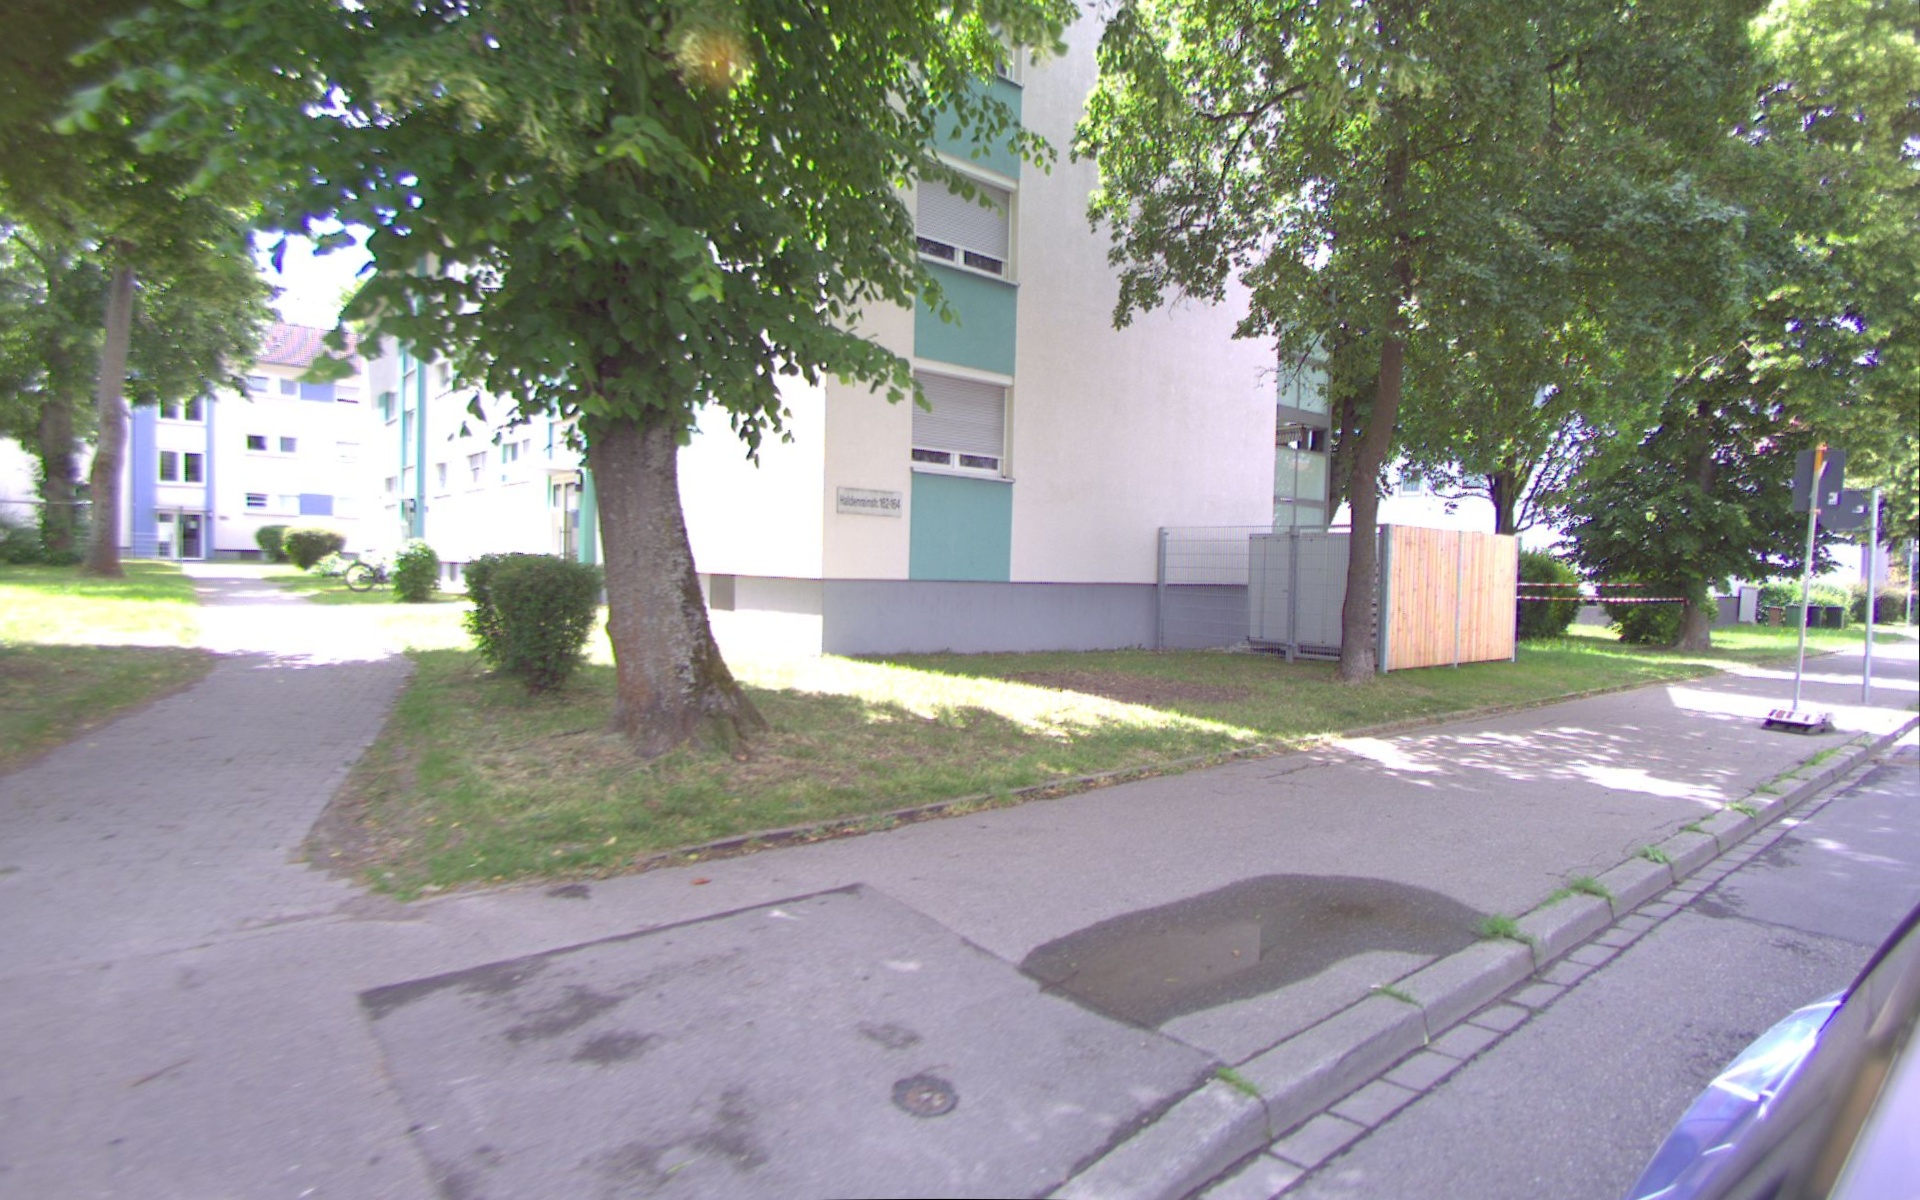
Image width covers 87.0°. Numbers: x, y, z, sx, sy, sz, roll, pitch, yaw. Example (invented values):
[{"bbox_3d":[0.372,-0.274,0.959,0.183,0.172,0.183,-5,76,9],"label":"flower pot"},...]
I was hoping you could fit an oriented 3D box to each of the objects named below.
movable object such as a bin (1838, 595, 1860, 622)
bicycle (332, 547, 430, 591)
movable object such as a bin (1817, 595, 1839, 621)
[{"bbox_3d":[33.327,0.317,37.936,0.570,0.966,0.497,1,2,-41],"label":"movable object such as a bin"},{"bbox_3d":[-13.302,-0.701,23.277,1.882,0.964,0.529,0,3,-41],"label":"bicycle"},{"bbox_3d":[32.888,0.287,38.338,0.541,0.959,0.501,1,2,-41],"label":"movable object such as a bin"}]
